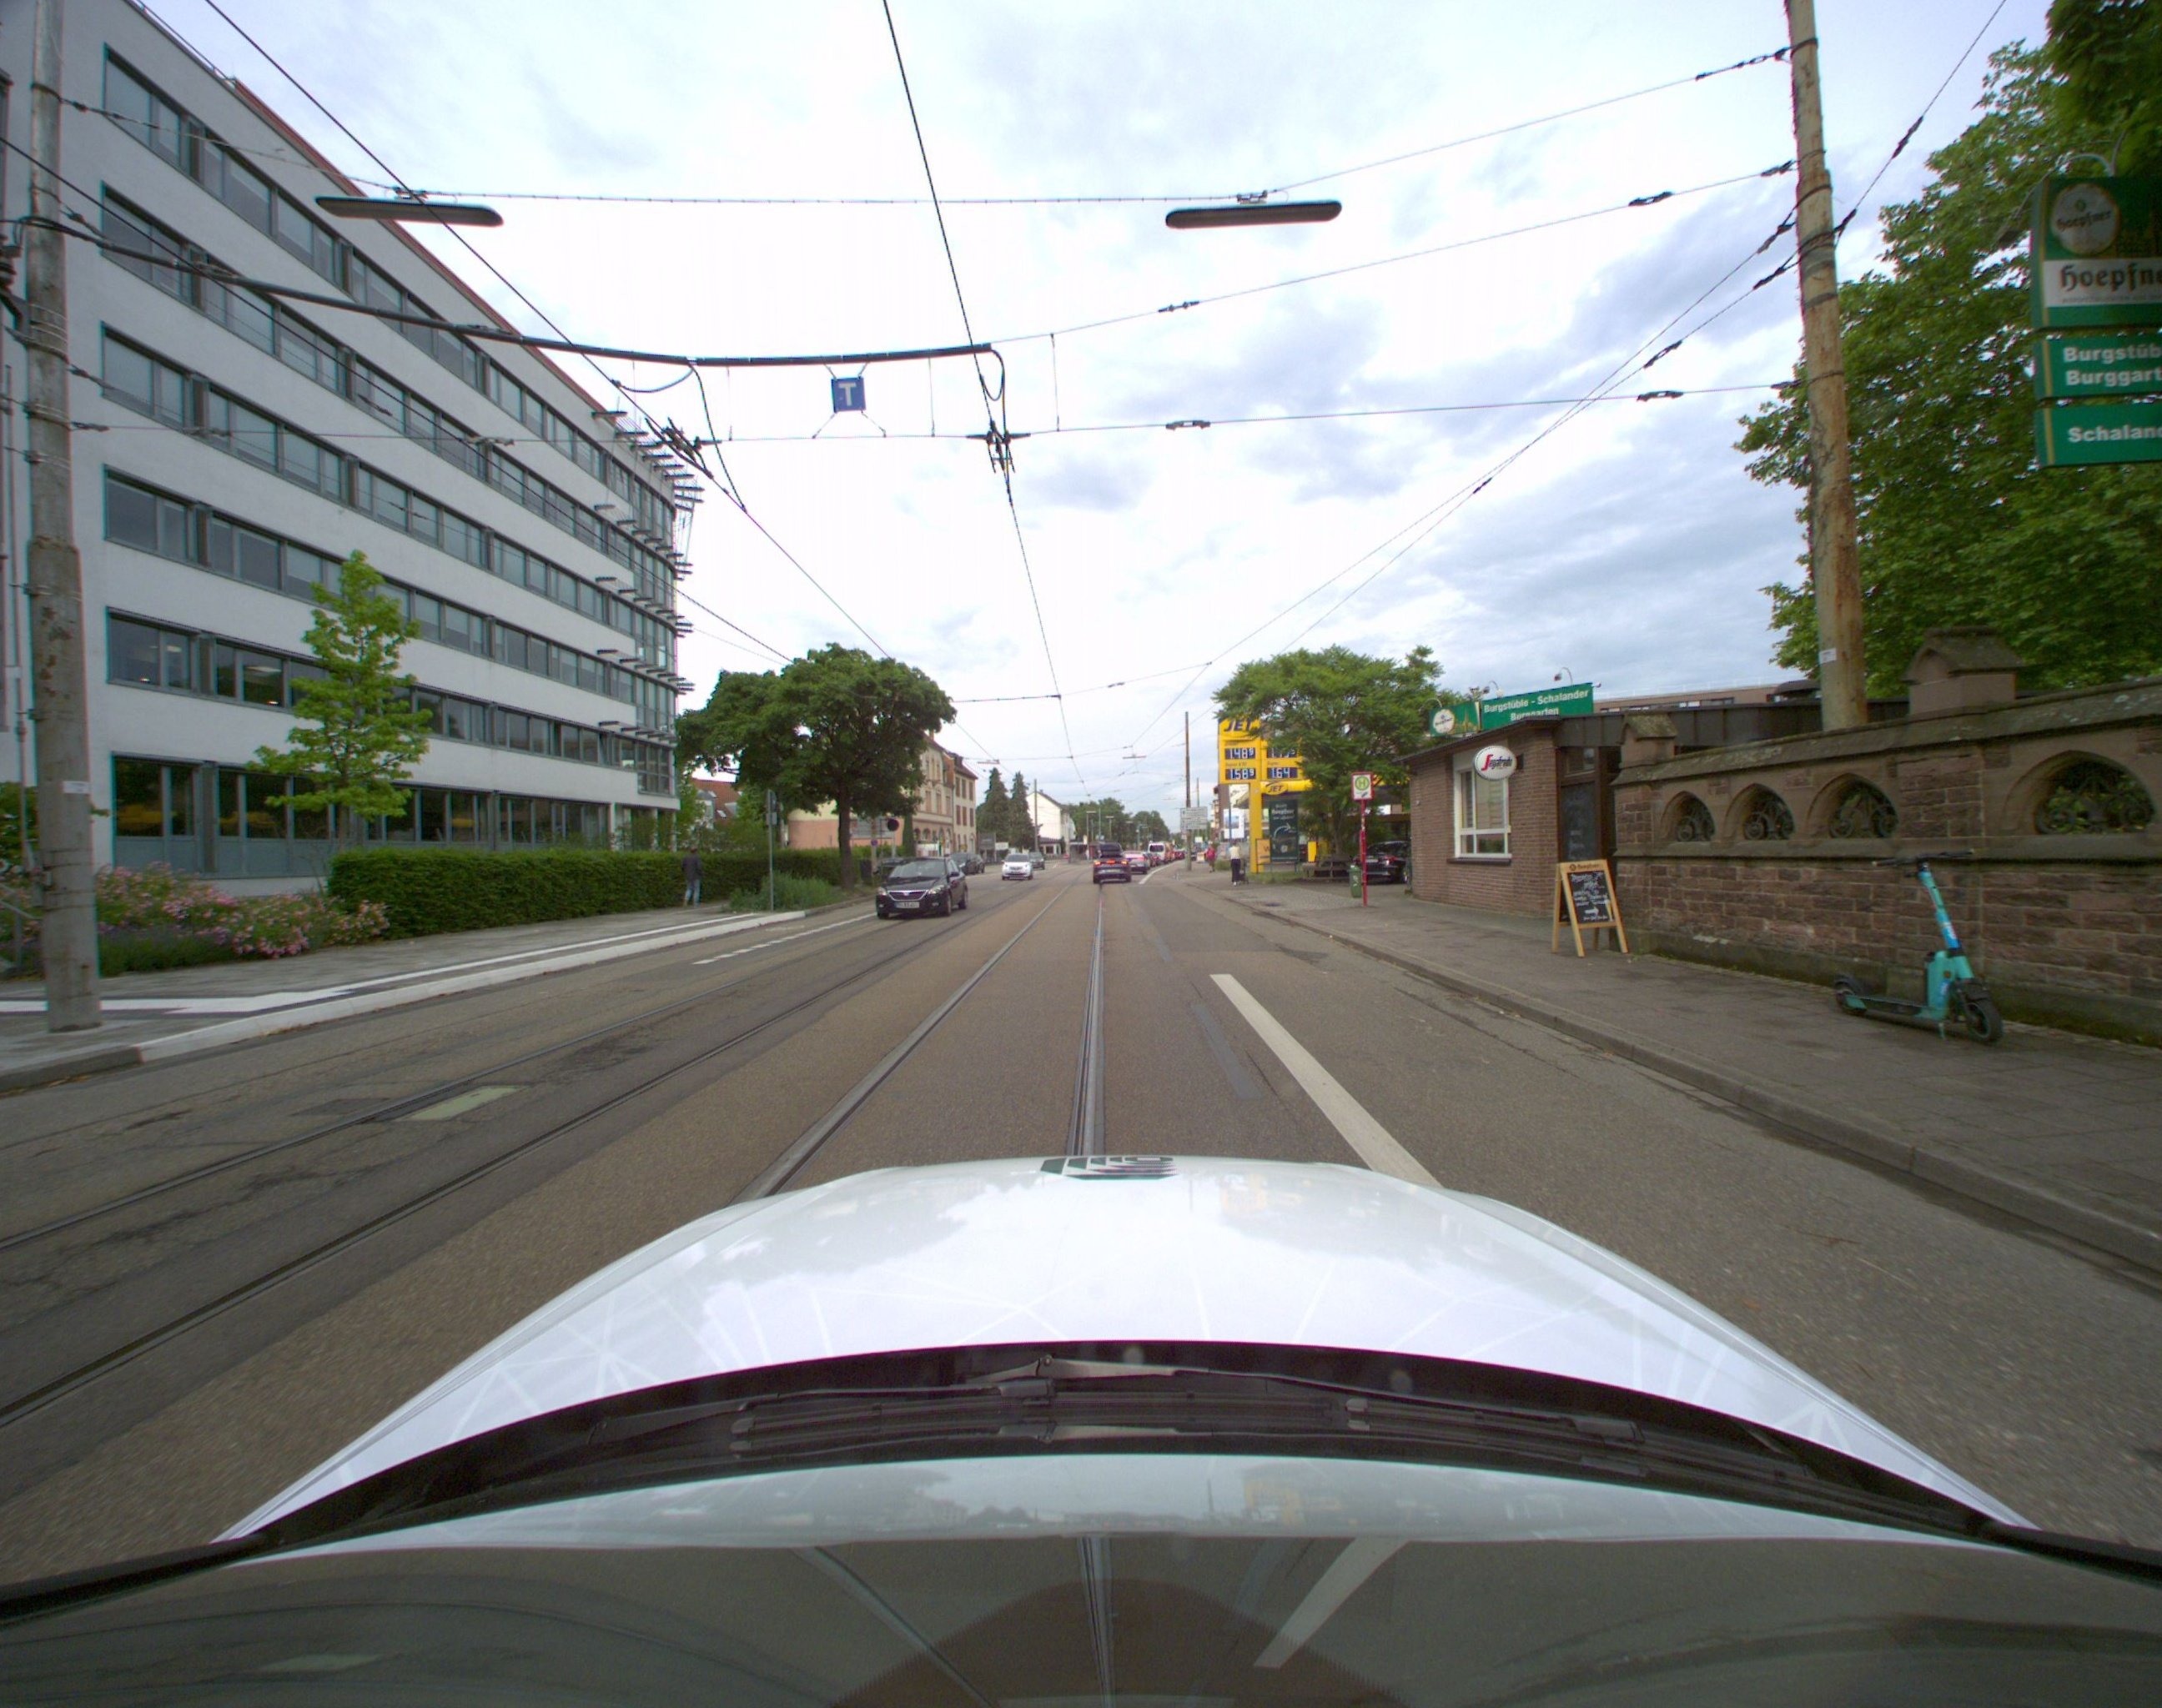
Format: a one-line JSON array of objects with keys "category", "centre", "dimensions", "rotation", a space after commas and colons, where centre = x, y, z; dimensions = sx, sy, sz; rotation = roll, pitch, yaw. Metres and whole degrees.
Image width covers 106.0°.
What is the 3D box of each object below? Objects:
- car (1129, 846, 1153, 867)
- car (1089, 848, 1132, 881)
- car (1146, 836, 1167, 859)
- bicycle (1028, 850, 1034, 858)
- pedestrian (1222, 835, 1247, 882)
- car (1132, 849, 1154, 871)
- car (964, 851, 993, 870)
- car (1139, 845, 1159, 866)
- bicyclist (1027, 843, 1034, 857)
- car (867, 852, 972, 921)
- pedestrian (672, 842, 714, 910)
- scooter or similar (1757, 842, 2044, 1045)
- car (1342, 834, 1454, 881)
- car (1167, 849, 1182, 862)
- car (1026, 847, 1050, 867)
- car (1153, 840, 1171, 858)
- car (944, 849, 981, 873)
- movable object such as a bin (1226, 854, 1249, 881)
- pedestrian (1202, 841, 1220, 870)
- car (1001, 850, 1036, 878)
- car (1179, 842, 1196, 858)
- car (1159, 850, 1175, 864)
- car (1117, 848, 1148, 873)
[{"category": "car", "centre": [4.963, 0.206, 67.662], "dimensions": [1.960, 1.756, 3.841], "rotation": [0, 0, 3]}, {"category": "car", "centre": [1.451, 0.492, 40.161], "dimensions": [1.982, 1.497, 4.328], "rotation": [0, 0, 2]}, {"category": "car", "centre": [8.257, -0.678, 89.835], "dimensions": [2.206, 2.423, 4.957], "rotation": [0, 0, 4]}, {"category": "bicycle", "centre": [-6.554, 0.010, 106.622], "dimensions": [0.586, 1.074, 1.951], "rotation": [-3, 0, -8]}, {"category": "pedestrian", "centre": [6.115, 0.179, 32.367], "dimensions": [0.762, 1.796, 1.167], "rotation": [-4, 0, 16]}, {"category": "car", "centre": [5.735, 0.562, 75.864], "dimensions": [1.985, 2.014, 4.004], "rotation": [0, 0, 4]}, {"category": "car", "centre": [-9.381, 0.571, 74.641], "dimensions": [1.836, 1.718, 4.197], "rotation": [0, 0, 4]}, {"category": "car", "centre": [6.877, 0.146, 82.104], "dimensions": [1.984, 2.014, 4.006], "rotation": [0, 0, 5]}, {"category": "bicyclist", "centre": [-6.580, -0.519, 106.625], "dimensions": [0.735, 1.749, 0.976], "rotation": [-3, 0, -9]}, {"category": "car", "centre": [-4.044, 0.755, 21.078], "dimensions": [1.741, 1.486, 4.065], "rotation": [-2, 1, 2]}, {"category": "pedestrian", "centre": [-11.732, 0.640, 24.658], "dimensions": [0.706, 2.014, 0.993], "rotation": [0, 0, 8]}, {"category": "scooter or similar", "centre": [5.766, 0.565, 5.855], "dimensions": [0.574, 1.239, 1.410], "rotation": [-5, 0, 2]}, {"category": "car", "centre": [11.234, 0.096, 28.709], "dimensions": [4.612, 1.407, 1.911], "rotation": [-4, 1, -45]}, {"category": "car", "centre": [14.621, 0.211, 127.818], "dimensions": [1.986, 2.014, 4.001], "rotation": [0, 0, 2]}, {"category": "car", "centre": [-4.002, 0.274, 76.788], "dimensions": [1.820, 1.737, 4.337], "rotation": [-2, 0, 2]}, {"category": "car", "centre": [9.825, -0.542, 99.211], "dimensions": [2.129, 2.145, 4.750], "rotation": [0, 0, 5]}, {"category": "car", "centre": [-9.724, 0.540, 67.180], "dimensions": [1.982, 1.887, 5.004], "rotation": [0, 0, 5]}, {"category": "movable object such as a bin", "centre": [6.405, 0.537, 33.294], "dimensions": [0.762, 1.039, 1.028], "rotation": [-4, 0, 16]}, {"category": "pedestrian", "centre": [8.295, 0.102, 51.946], "dimensions": [0.967, 1.738, 0.862], "rotation": [-4, -1, 4]}, {"category": "car", "centre": [-3.632, 0.553, 47.880], "dimensions": [1.698, 1.530, 3.742], "rotation": [-1, 0, 0]}, {"category": "car", "centre": [12.780, -0.440, 97.890], "dimensions": [1.866, 1.823, 4.102], "rotation": [0, 0, 5]}, {"category": "car", "centre": [12.188, 0.447, 115.683], "dimensions": [1.986, 2.014, 4.001], "rotation": [0, 0, 2]}, {"category": "car", "centre": [3.383, 0.399, 54.398], "dimensions": [1.974, 1.550, 4.185], "rotation": [0, 0, 2]}]
